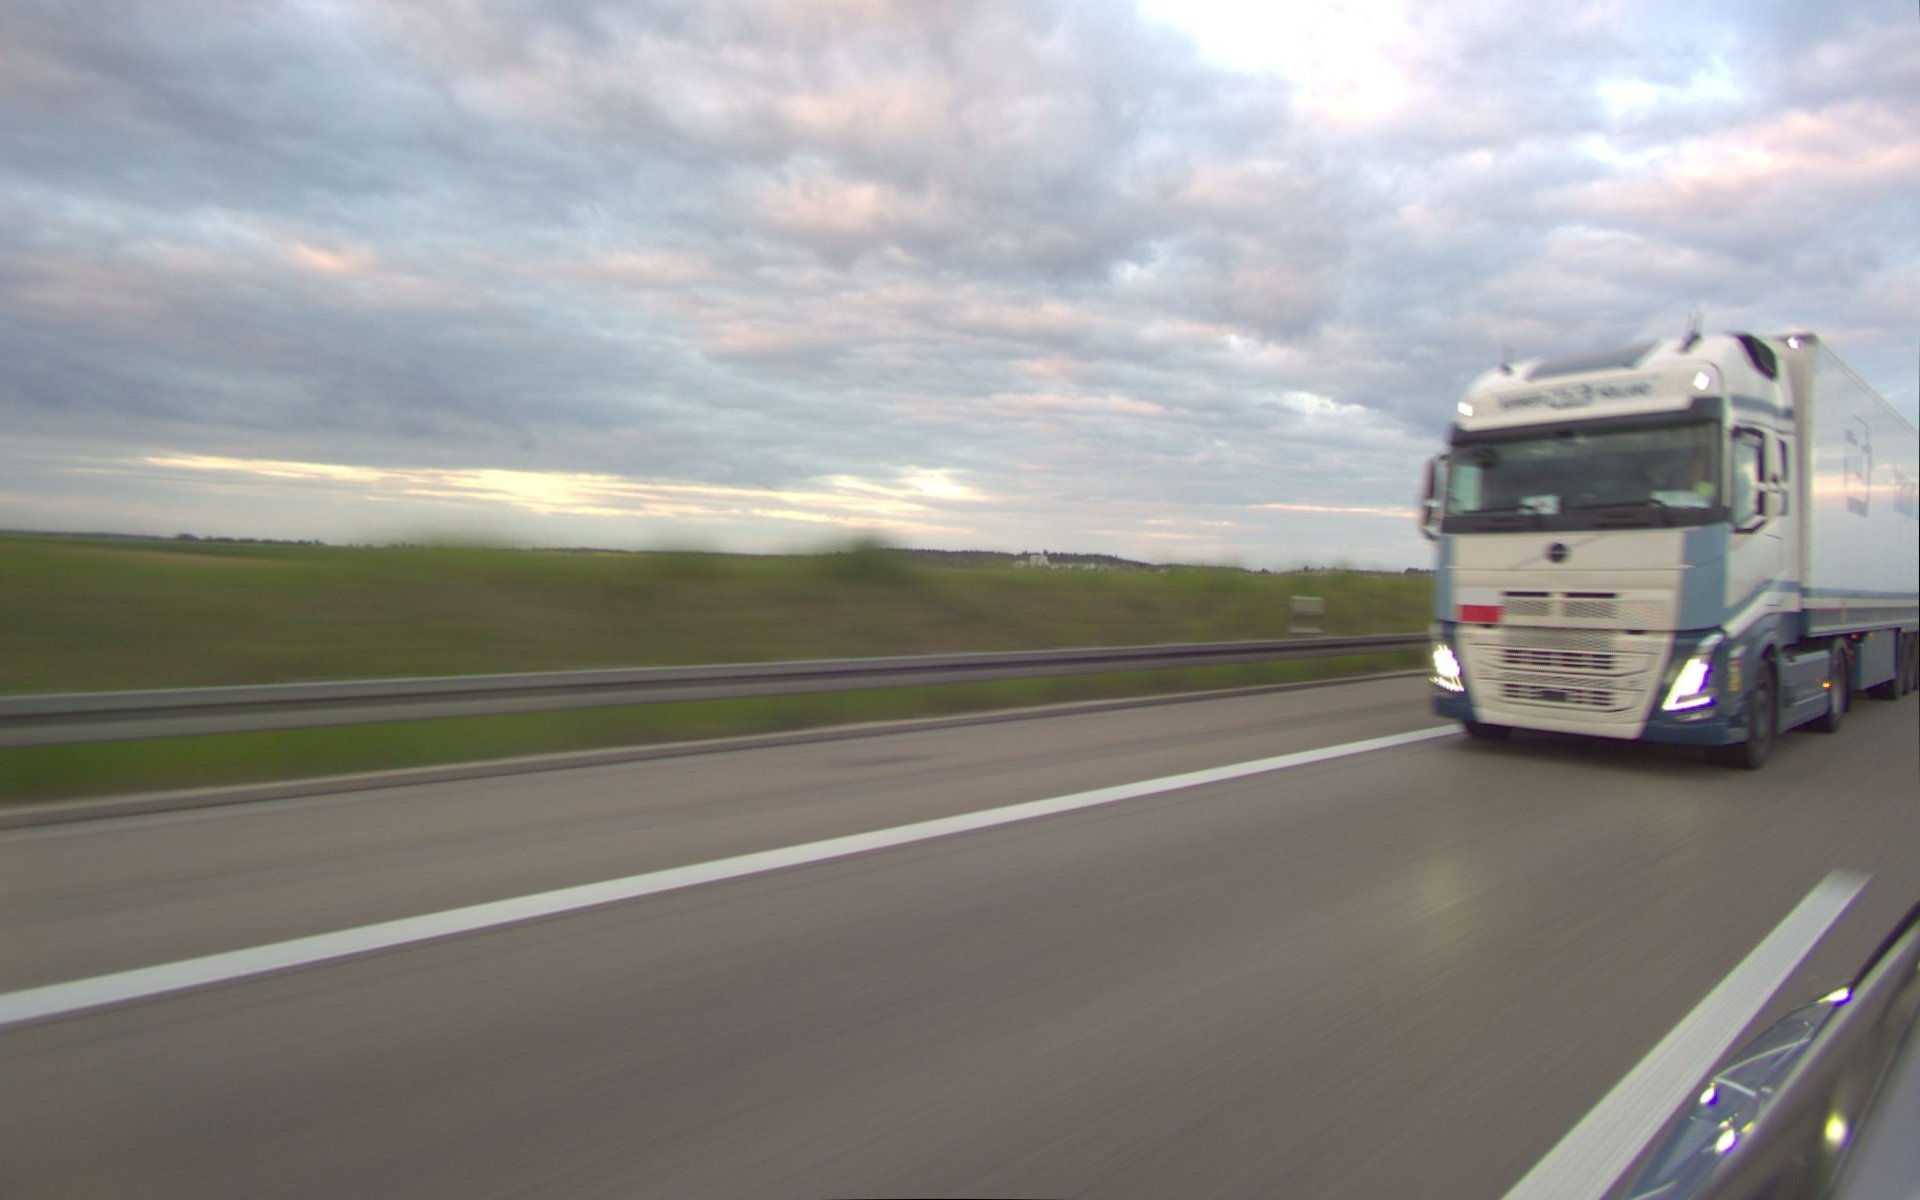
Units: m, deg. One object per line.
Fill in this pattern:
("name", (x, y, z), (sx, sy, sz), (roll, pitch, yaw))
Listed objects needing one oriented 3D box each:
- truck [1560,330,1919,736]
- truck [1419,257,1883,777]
("truck", (12.886, -0.703, 15.328), (12.757, 4.073, 2.595), (0, 1, -41))
("truck", (7.565, -0.680, 10.800), (5.755, 4.073, 2.596), (0, 1, -40))
